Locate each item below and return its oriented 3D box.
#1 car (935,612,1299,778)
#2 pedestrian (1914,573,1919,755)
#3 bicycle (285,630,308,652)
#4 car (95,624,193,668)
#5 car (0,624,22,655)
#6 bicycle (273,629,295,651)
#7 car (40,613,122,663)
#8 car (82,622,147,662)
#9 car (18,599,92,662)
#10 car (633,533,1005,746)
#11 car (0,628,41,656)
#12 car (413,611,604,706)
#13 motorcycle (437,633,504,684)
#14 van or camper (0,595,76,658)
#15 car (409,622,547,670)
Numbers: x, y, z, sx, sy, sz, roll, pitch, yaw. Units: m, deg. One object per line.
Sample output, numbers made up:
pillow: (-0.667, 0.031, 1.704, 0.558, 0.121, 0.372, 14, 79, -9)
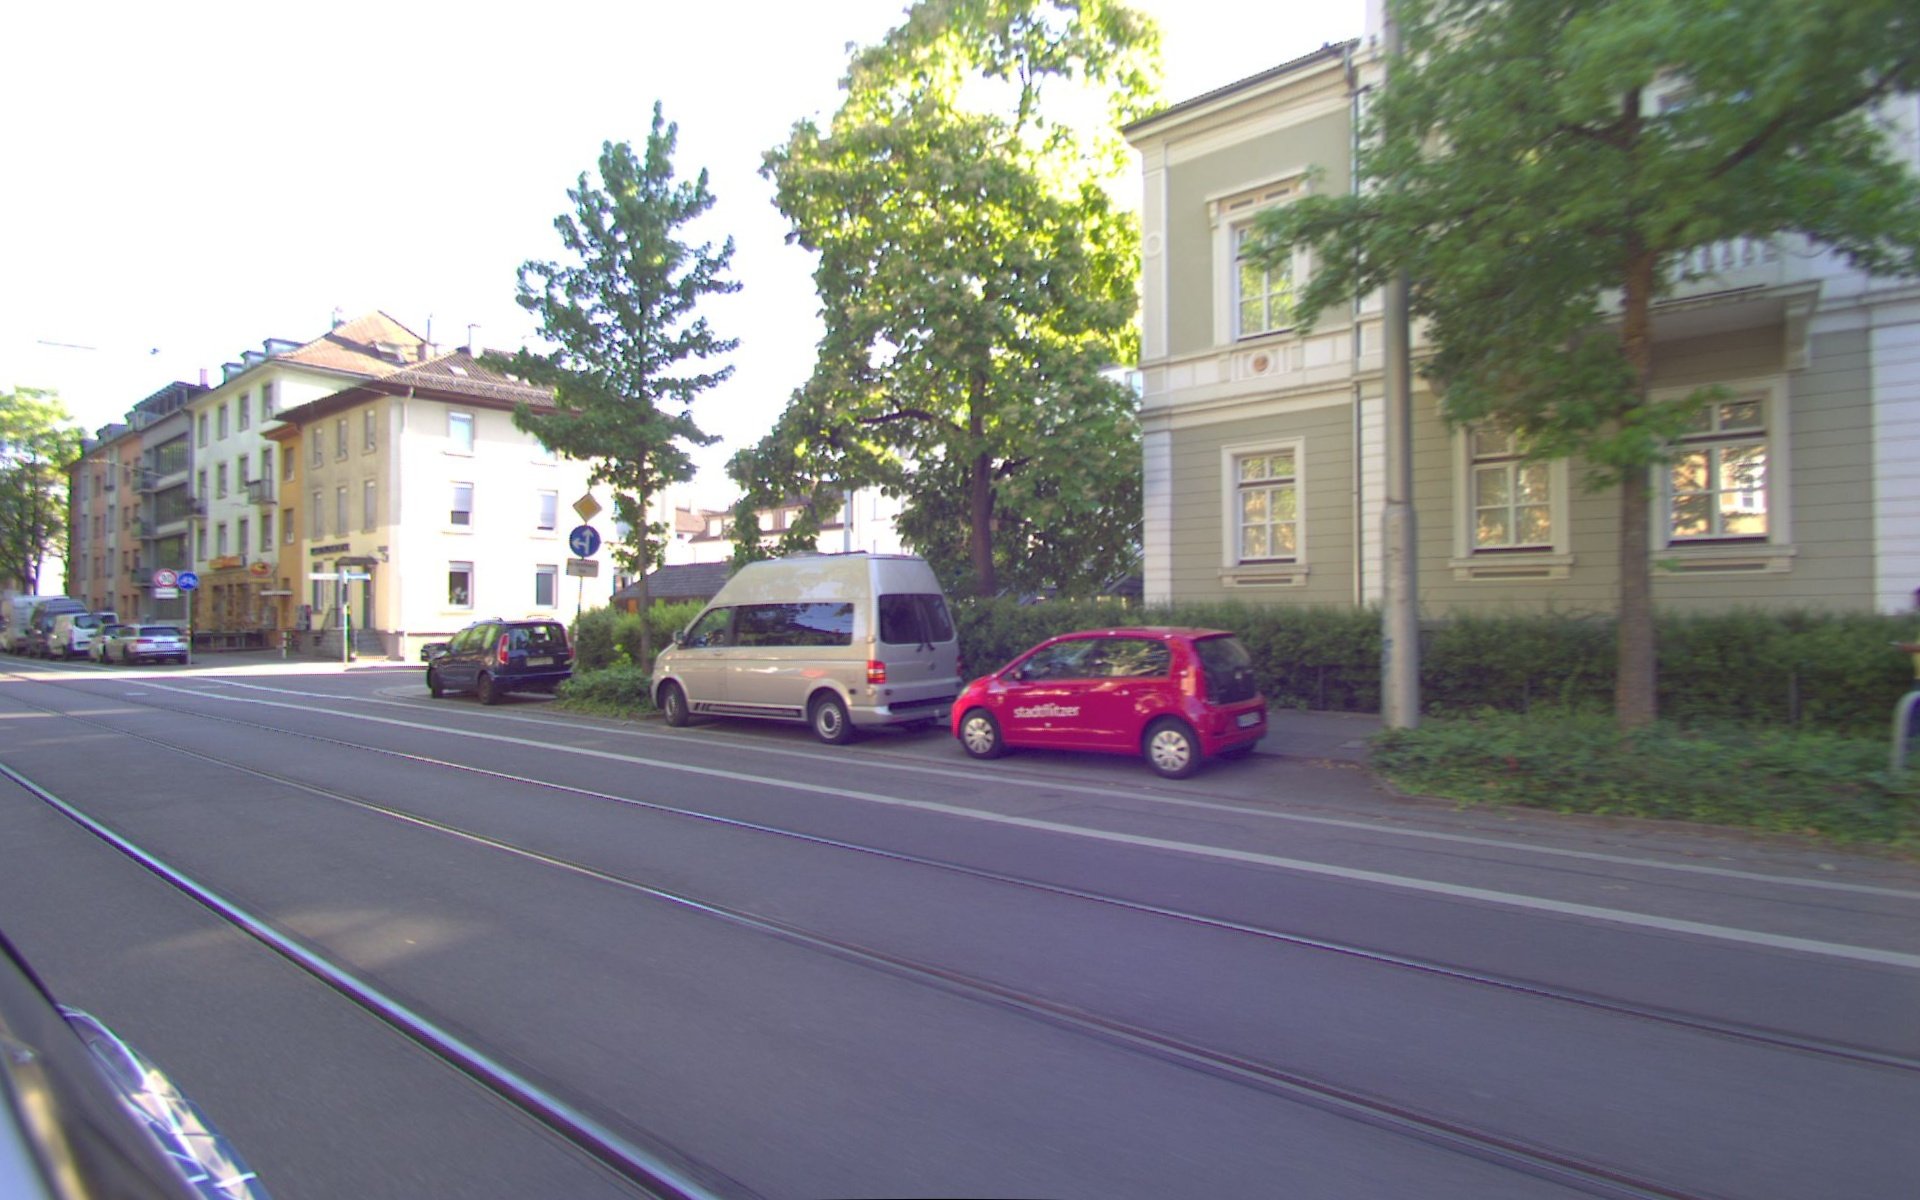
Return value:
car: (1.651, 0.933, 11.284, 3.704, 1.551, 1.668, -1, -2, 40)
pedestrian: (9.053, 0.586, 8.862, 0.947, 1.674, 0.598, -2, -1, 41)
bicycle: (-28.554, 1.744, 43.538, 1.646, 0.935, 0.358, -1, -2, 40)
car: (-30.334, 1.668, 37.572, 4.933, 1.504, 1.754, -1, -1, 37)
car: (-57.411, 2.323, 60.215, 4.430, 1.767, 1.769, -1, -1, 39)
bicycle: (-29.840, 1.766, 44.656, 1.646, 0.935, 0.358, -1, -2, 40)
car: (-38.529, 1.641, 44.334, 4.936, 2.062, 1.904, -1, -1, 39)
car: (-34.068, 1.668, 40.779, 2.881, 1.504, 1.555, -1, -1, 40)
car: (-43.059, 1.443, 48.131, 4.543, 2.767, 1.904, -1, 2, 40)
car: (-2.172, 0.537, 14.579, 5.337, 2.527, 2.281, -1, -2, 38)
car: (-53.061, 2.335, 56.758, 3.469, 1.526, 1.769, -1, -1, 39)
car: (-9.102, 1.100, 20.257, 4.261, 1.703, 1.971, -1, -2, 43)
motorcycle: (-11.747, 1.402, 24.246, 2.149, 1.148, 0.665, -4, -1, 43)
van or camper: (-48.195, 1.352, 52.690, 5.987, 2.999, 2.393, -1, 2, 41)
car: (-17.161, 1.608, 36.130, 1.966, 1.630, 4.017, -1, -2, 43)
